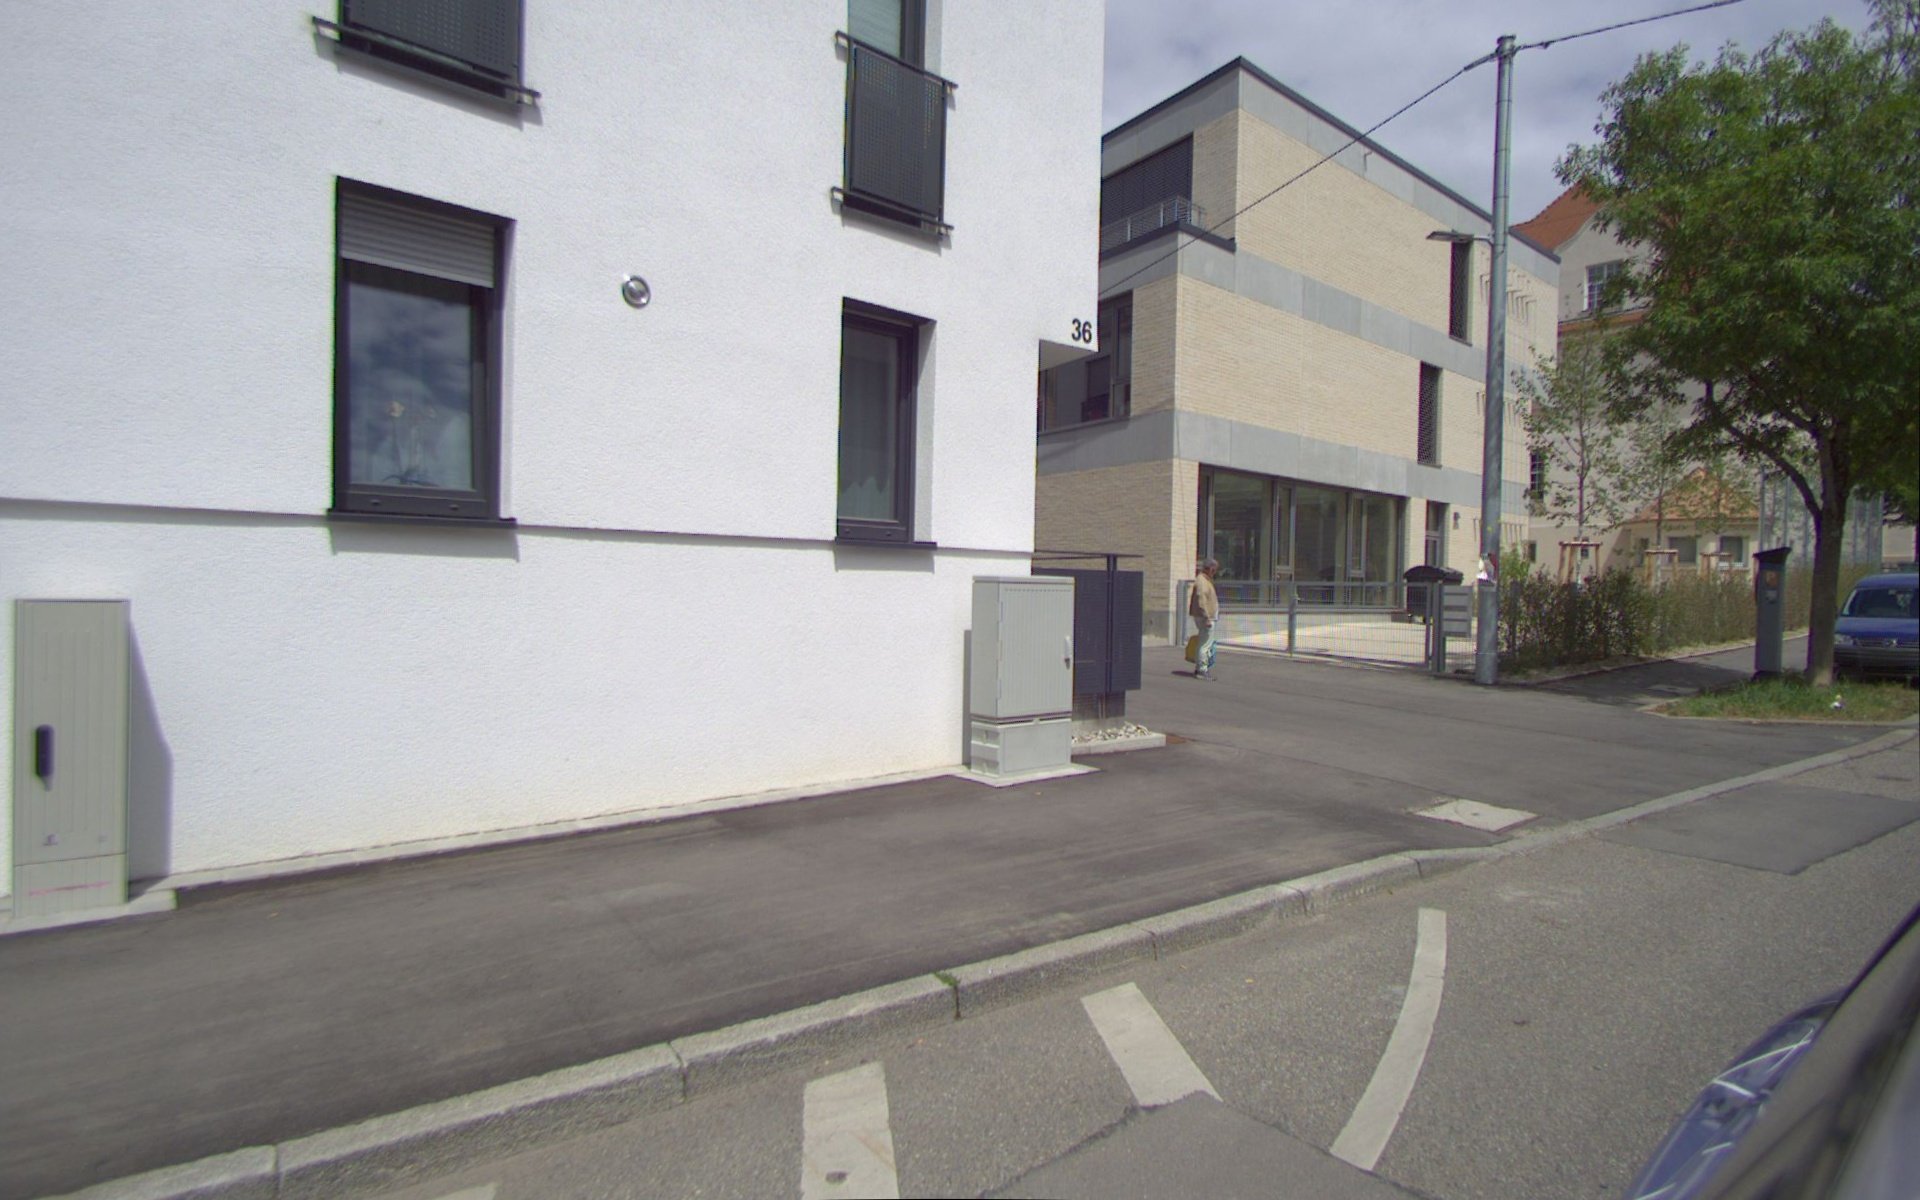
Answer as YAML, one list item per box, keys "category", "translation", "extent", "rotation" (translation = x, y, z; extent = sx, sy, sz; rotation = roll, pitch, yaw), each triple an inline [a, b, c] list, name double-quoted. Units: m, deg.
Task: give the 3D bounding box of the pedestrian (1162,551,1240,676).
- category: "pedestrian"
  translation: [3.446, 0.172, 14.485]
  extent: [0.815, 1.724, 0.774]
  rotation: [-1, 1, -41]

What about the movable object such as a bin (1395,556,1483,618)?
- category: "movable object such as a bin"
  translation: [11.941, -0.330, 25.225]
  extent: [1.774, 1.465, 1.351]
  rotation: [-1, 1, -39]

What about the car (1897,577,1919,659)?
- category: "car"
  translation: [19.896, 0.341, 19.941]
  extent: [3.605, 1.538, 1.677]
  rotation: [-1, 2, -40]

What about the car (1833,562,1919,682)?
- category: "car"
  translation: [15.632, 0.283, 16.330]
  extent: [4.086, 1.764, 1.698]
  rotation: [-2, 3, -40]
